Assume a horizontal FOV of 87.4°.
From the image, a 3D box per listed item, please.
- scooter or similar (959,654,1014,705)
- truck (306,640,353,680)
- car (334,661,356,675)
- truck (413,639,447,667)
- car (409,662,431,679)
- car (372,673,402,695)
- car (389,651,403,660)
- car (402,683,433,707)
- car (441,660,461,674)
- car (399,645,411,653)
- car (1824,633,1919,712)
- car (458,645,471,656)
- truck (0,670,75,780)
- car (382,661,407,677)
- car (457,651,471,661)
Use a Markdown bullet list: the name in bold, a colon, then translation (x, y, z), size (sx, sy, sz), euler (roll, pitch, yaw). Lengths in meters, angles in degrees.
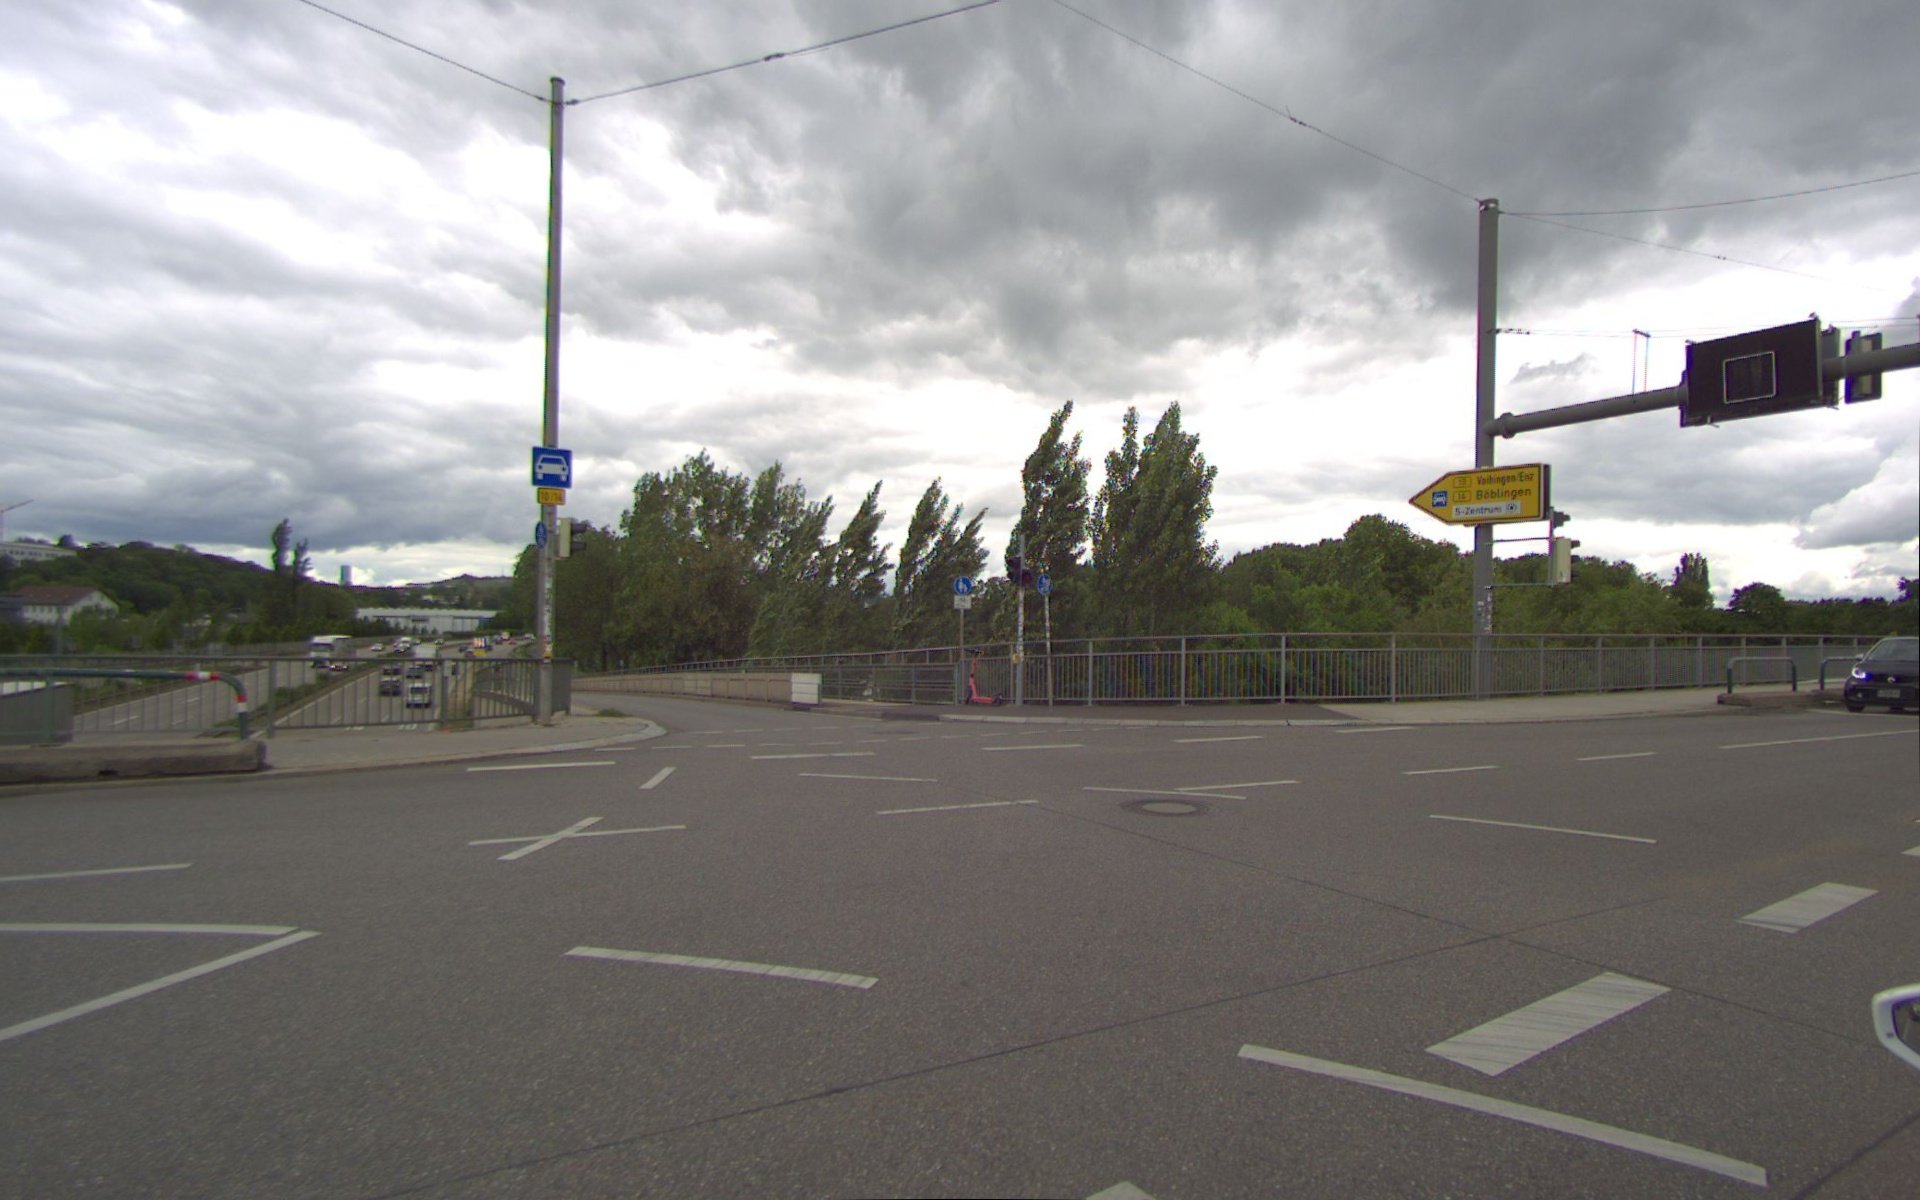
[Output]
- **scooter or similar**: translation (0.561, 1.725, 21.968), size (0.480, 1.070, 1.322), euler (1, -3, -37)
- **truck**: translation (-88.522, 8.281, 141.344), size (3.331, 5.020, 13.861), euler (1, -1, -23)
- **car**: translation (-80.777, 8.894, 132.034), size (1.887, 1.739, 3.620), euler (3, -4, -23)
- **truck**: translation (-74.198, 7.417, 140.791), size (3.547, 3.501, 8.190), euler (4, -3, -25)
- **car**: translation (-66.406, 8.646, 123.575), size (2.111, 1.739, 4.397), euler (3, -2, -25)
- **car**: translation (-54.154, 7.966, 95.000), size (2.111, 1.739, 4.397), euler (3, -2, -25)
- **car**: translation (-112.487, 11.082, 200.434), size (1.887, 1.739, 3.620), euler (3, -4, -23)
- **car**: translation (-47.697, 8.305, 88.367), size (2.111, 1.739, 4.397), euler (3, -2, -25)
- **car**: translation (-67.859, 8.958, 133.963), size (2.111, 1.586, 4.397), euler (3, -2, -25)
- **car**: translation (-123.092, 10.908, 222.663), size (1.887, 1.739, 3.620), euler (3, -4, -23)
- **car**: translation (19.840, 1.438, 20.702), size (3.822, 1.524, 1.828), euler (1, -2, -28)
- **car**: translation (-107.818, 11.062, 218.700), size (2.195, 2.040, 4.614), euler (3, 0, -24)
- **truck**: translation (-43.103, 5.566, 43.643), size (2.850, 4.413, 13.184), euler (2, -2, -23)
- **car**: translation (-72.119, 8.779, 128.187), size (2.304, 1.740, 4.705), euler (-1, 0, -23)
- **car**: translation (-90.109, 10.175, 182.553), size (2.111, 1.739, 4.397), euler (3, -2, -25)
